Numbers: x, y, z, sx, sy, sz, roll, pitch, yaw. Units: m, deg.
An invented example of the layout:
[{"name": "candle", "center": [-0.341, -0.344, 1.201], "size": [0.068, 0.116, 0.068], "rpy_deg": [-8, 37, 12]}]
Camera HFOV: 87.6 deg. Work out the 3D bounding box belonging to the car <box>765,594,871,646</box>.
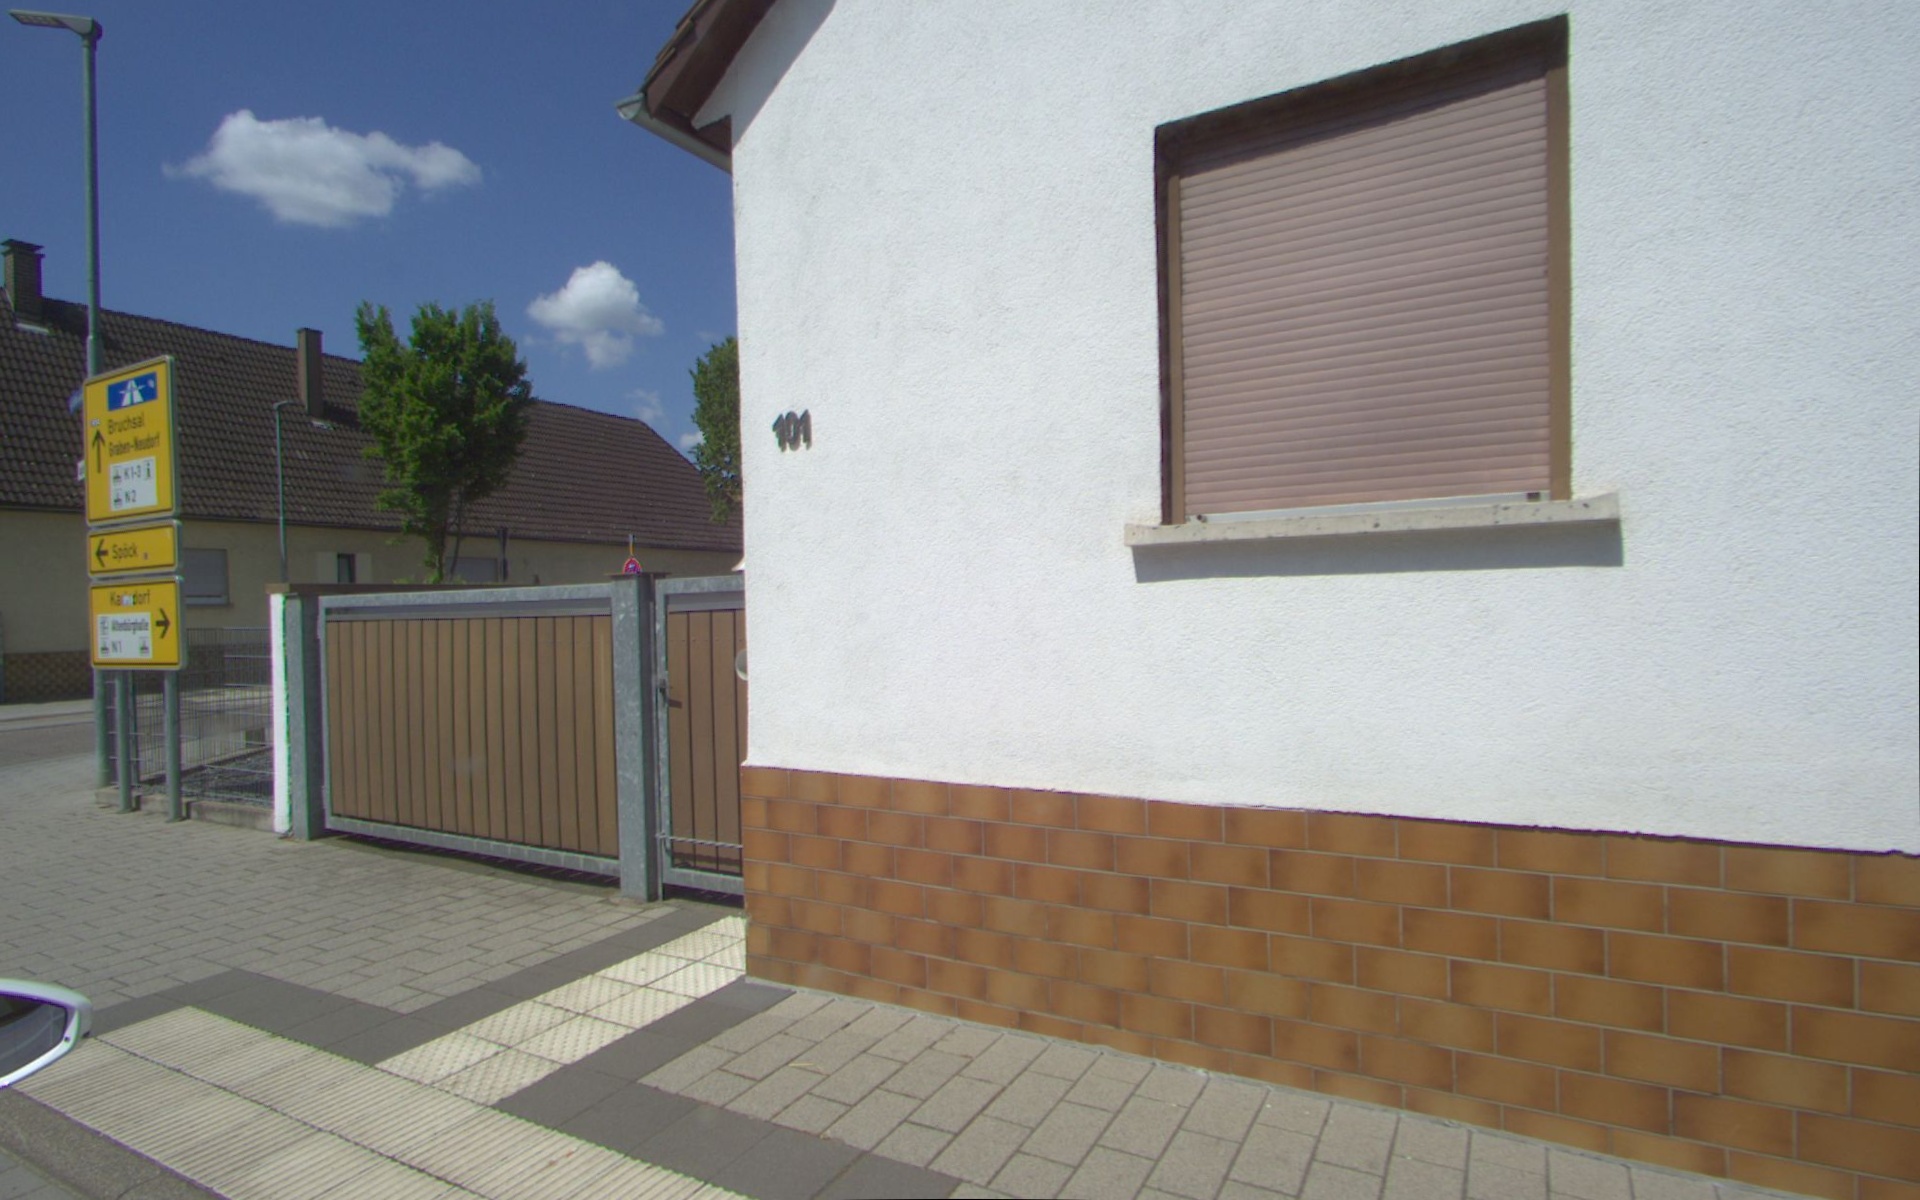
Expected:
[{"name": "car", "center": [-5.556, 0.737, 39.783], "size": [1.968, 1.964, 4.461], "rpy_deg": [0, 0, 27]}]
